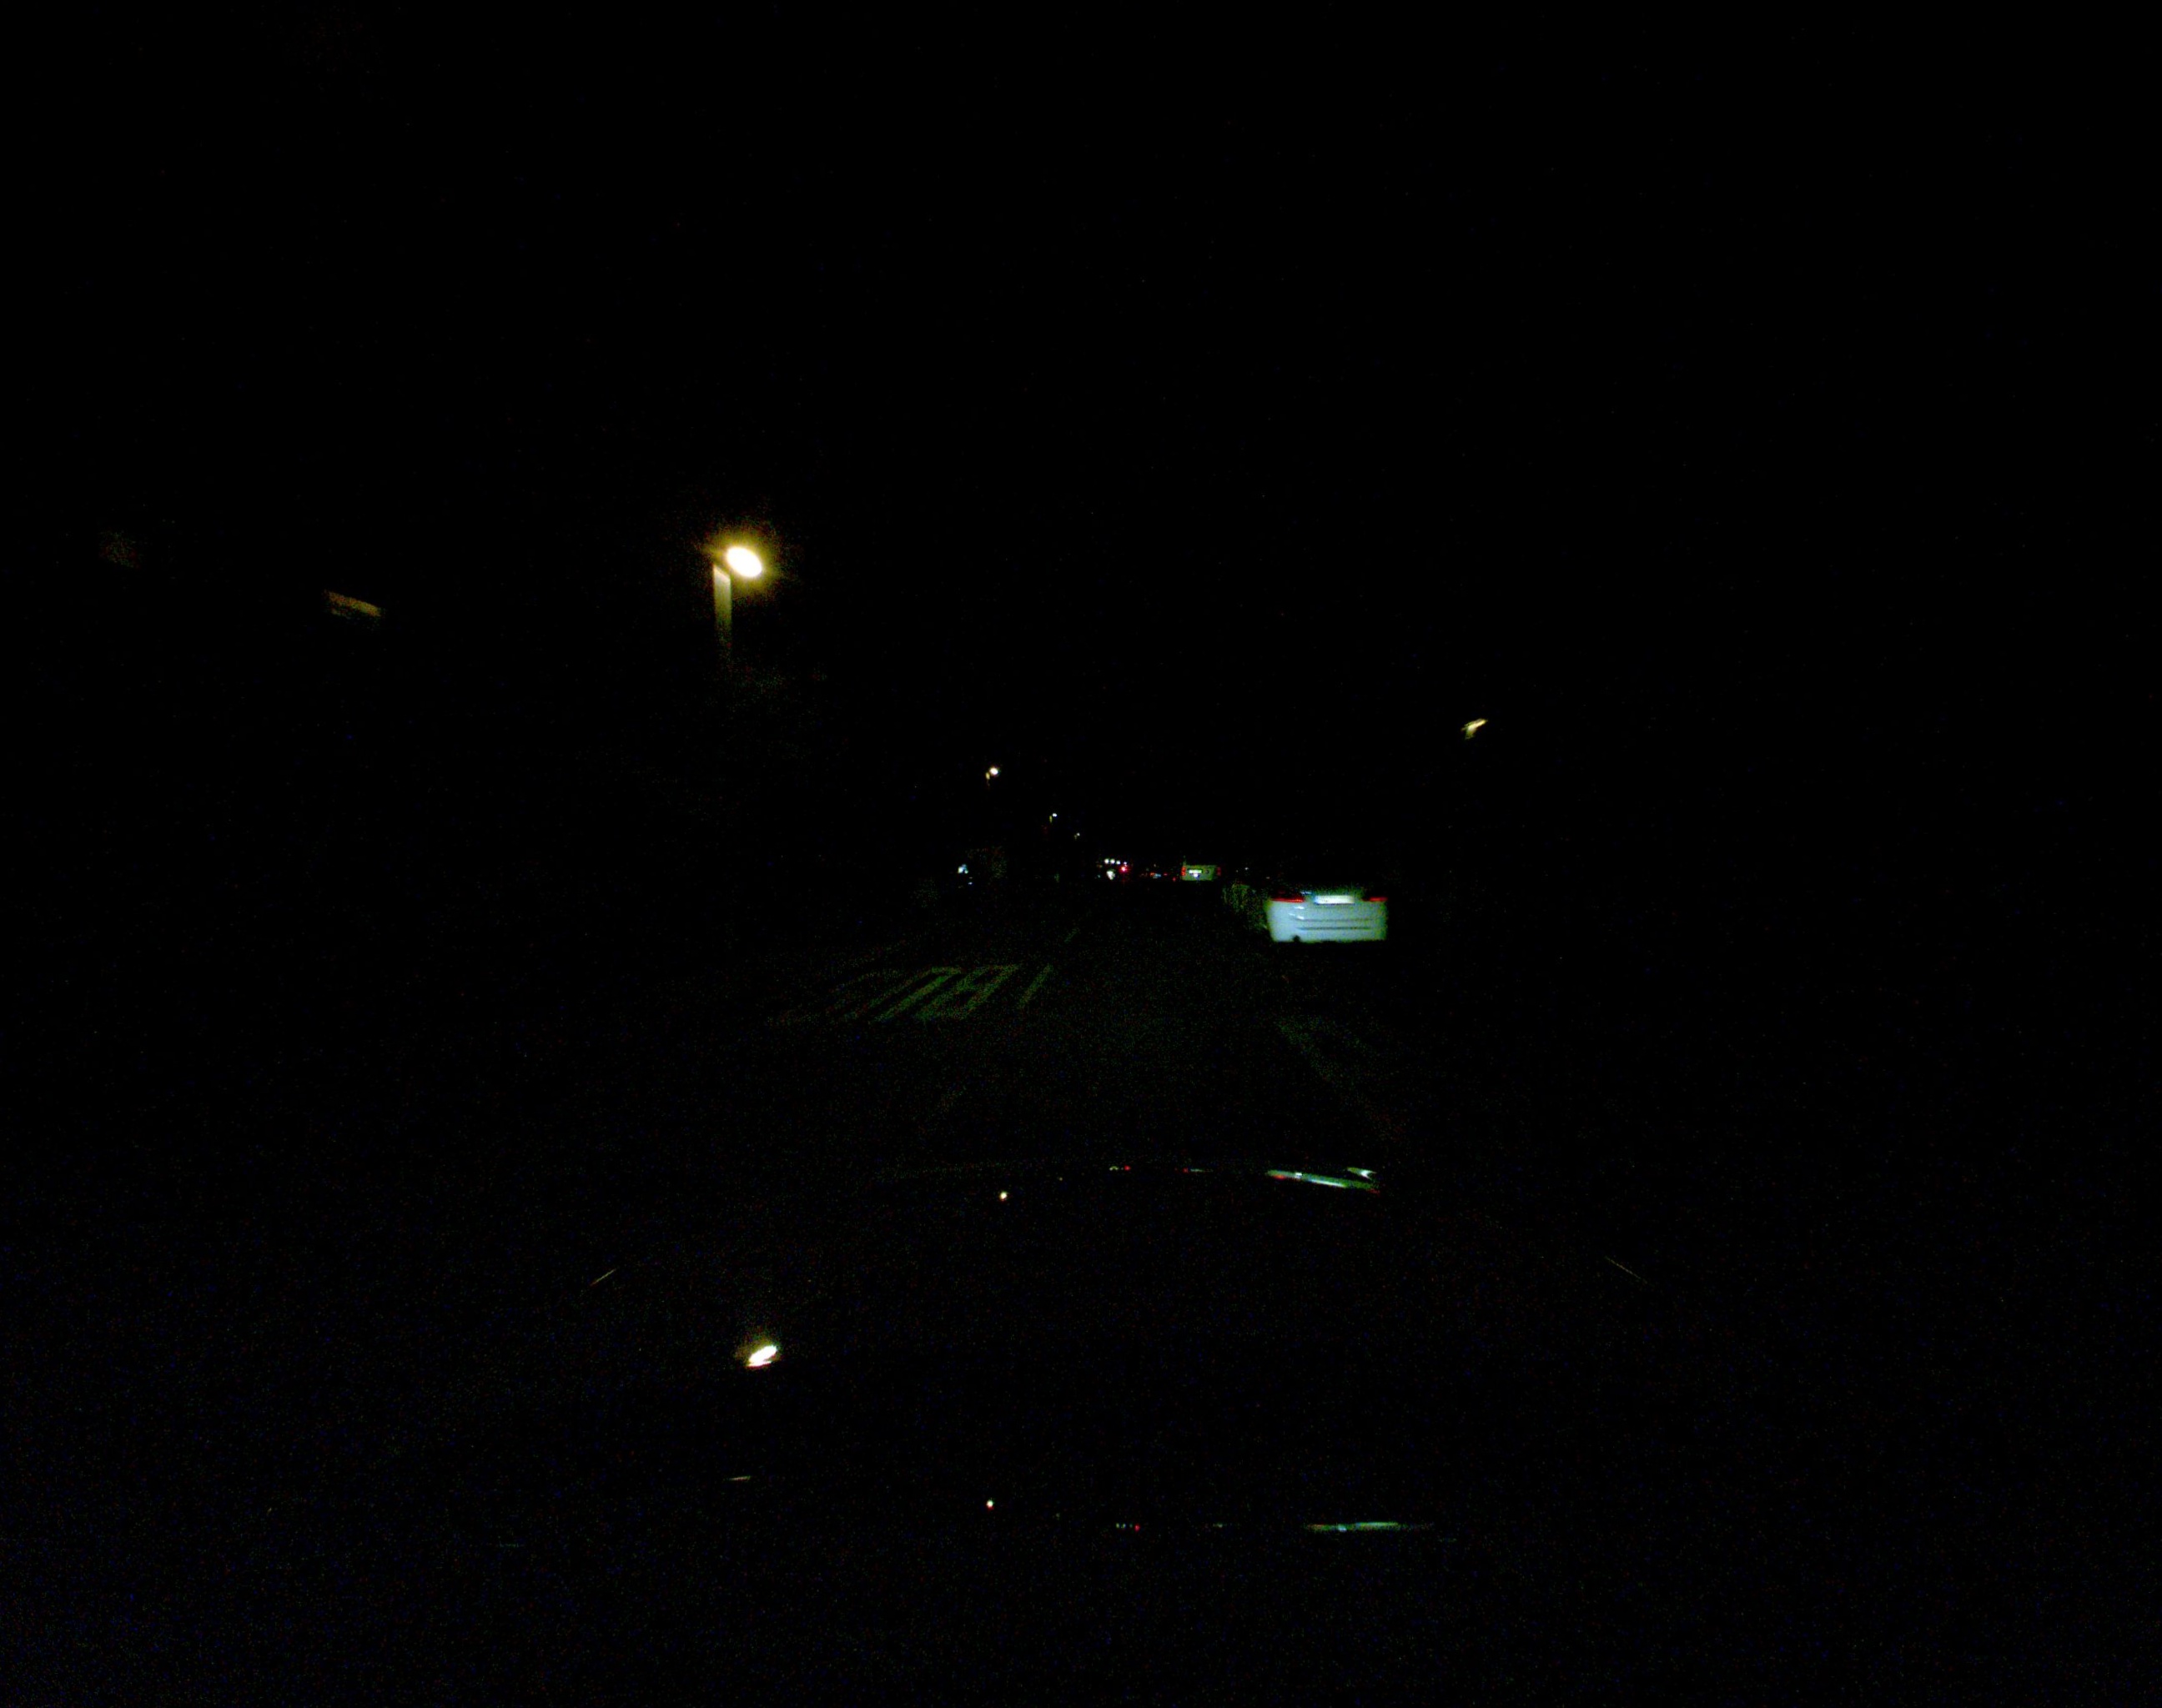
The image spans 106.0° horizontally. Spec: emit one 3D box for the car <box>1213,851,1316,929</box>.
[{"bbox_3d":[3.986,0.726,18.225,1.602,1.461,3.720,-2,1,3],"label":"car"}]

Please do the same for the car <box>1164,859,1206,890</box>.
[{"bbox_3d":[5.164,1.014,40.976,1.736,1.471,4.259,2,-1,3],"label":"car"}]

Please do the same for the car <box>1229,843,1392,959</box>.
[{"bbox_3d":[3.625,0.662,13.725,1.747,1.594,4.733,1,0,4],"label":"car"}]

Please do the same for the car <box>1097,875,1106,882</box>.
[{"bbox_3d":[4.154,4.990,166.217,1.747,1.540,3.729,0,-2,0],"label":"car"}]

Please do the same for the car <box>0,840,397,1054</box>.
[{"bbox_3d":[-8.297,0.613,6.732,1.969,1.439,3.997,1,0,-2],"label":"car"}]

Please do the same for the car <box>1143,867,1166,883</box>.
[{"bbox_3d":[6.825,1.970,76.106,1.757,1.476,4.274,2,-2,0],"label":"car"}]

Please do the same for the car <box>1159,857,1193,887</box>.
[{"bbox_3d":[5.374,1.043,46.601,1.823,1.664,4.624,0,-2,5],"label":"car"}]

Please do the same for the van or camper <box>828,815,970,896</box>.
[{"bbox_3d":[-7.350,0.042,33.452,5.393,3.111,2.127,-1,0,-7],"label":"van or camper"}]

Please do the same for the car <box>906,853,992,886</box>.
[{"bbox_3d":[-6.438,0.751,39.981,3.795,1.555,1.928,0,0,2],"label":"car"}]

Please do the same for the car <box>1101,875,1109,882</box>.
[{"bbox_3d":[5.459,5.599,183.298,1.746,1.540,3.732,0,-2,2],"label":"car"}]

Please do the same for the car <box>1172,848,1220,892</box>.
[{"bbox_3d":[4.945,0.680,35.489,1.711,1.761,4.762,1,-1,4],"label":"car"}]

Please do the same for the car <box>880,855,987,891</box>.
[{"bbox_3d":[-6.675,0.882,37.154,4.397,1.613,2.067,0,-2,4],"label":"car"}]
